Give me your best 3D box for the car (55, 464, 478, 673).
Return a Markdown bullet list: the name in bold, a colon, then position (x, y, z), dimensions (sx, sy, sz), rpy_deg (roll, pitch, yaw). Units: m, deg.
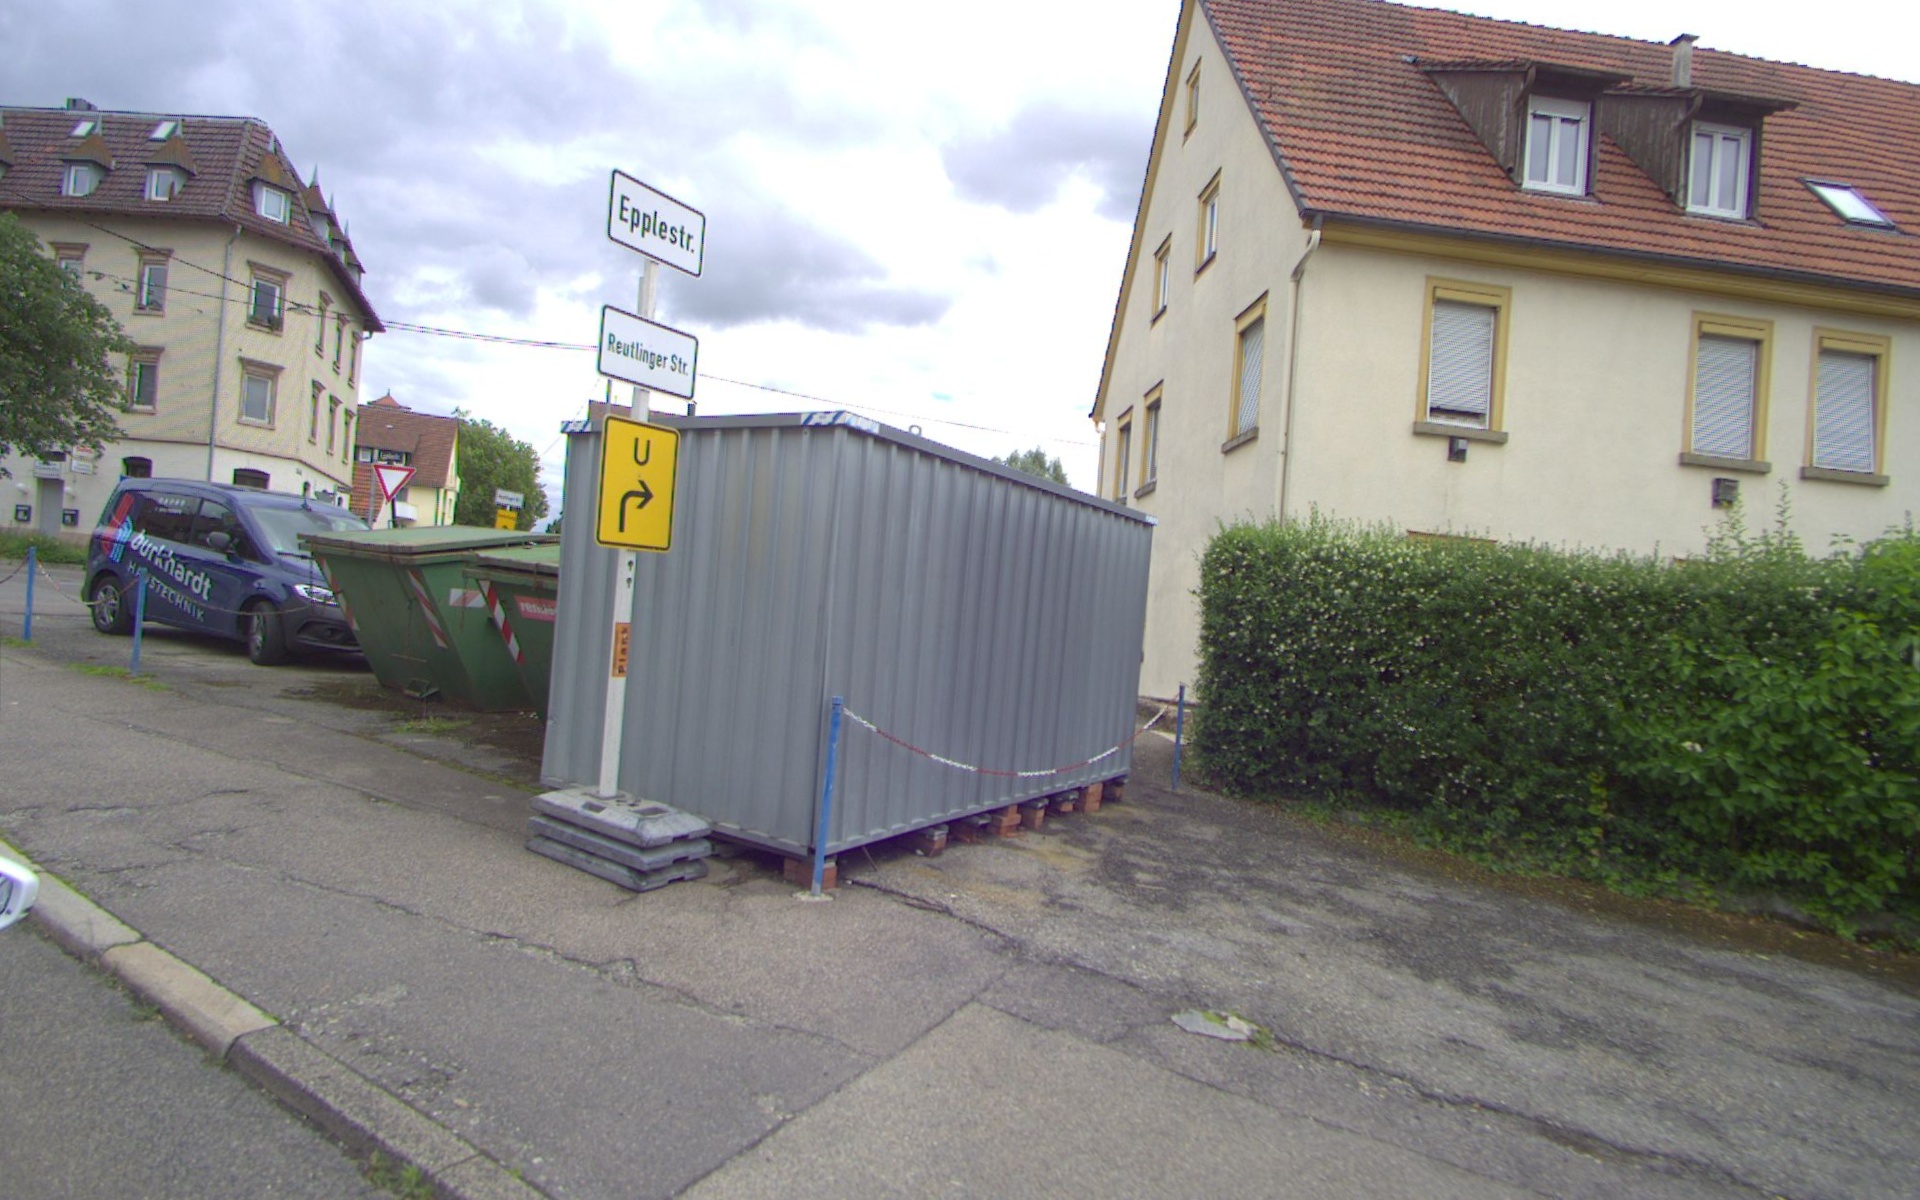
- **car**: position (-7.787, -0.388, 11.251), dimensions (4.489, 1.762, 1.750), rpy_deg (7, 1, 24)
